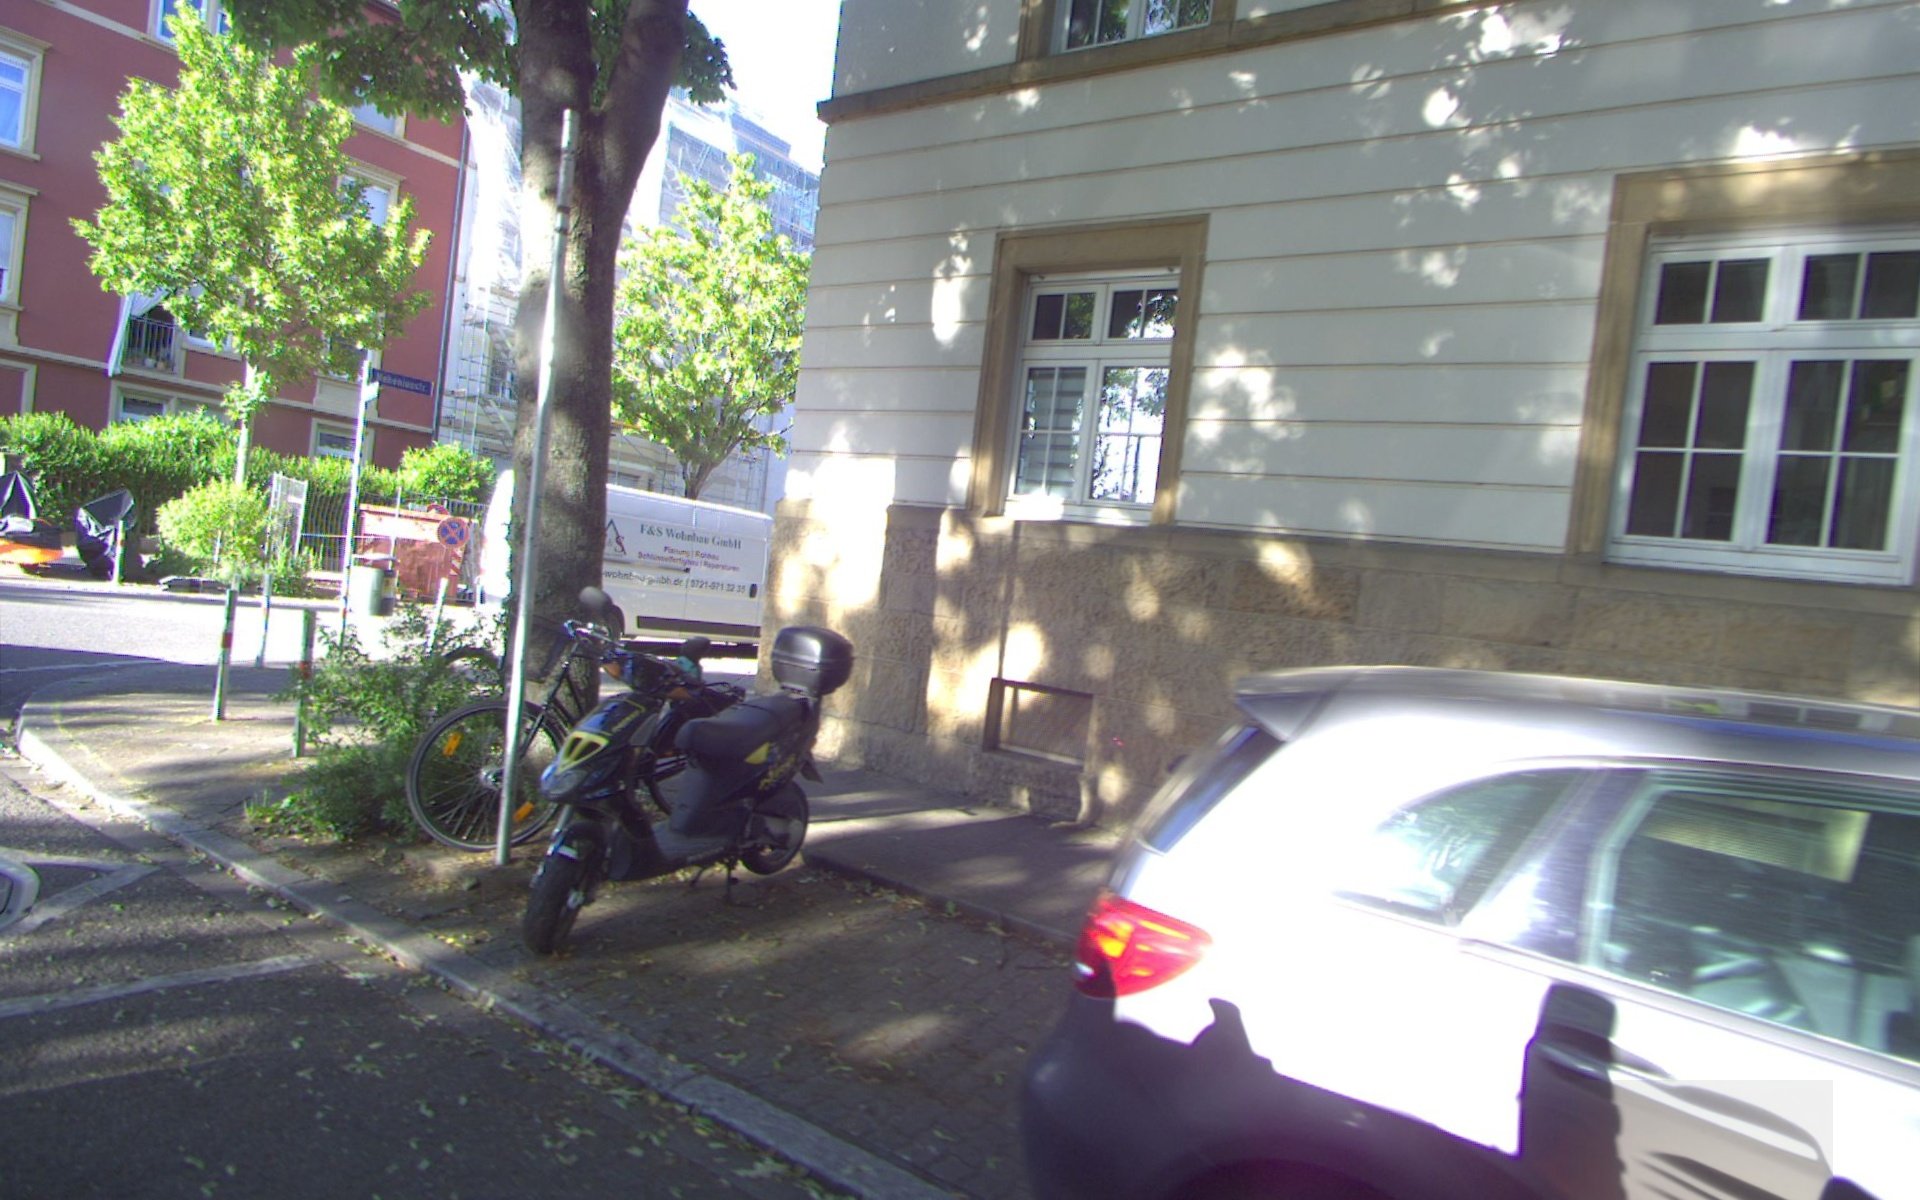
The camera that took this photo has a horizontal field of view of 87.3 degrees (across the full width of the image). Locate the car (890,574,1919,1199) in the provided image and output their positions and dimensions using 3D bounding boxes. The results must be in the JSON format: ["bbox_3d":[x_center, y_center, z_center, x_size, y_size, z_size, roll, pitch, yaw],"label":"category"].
[{"bbox_3d":[2.217,1.022,1.766,4.334,1.570,1.792,7,1,29],"label":"car"}]

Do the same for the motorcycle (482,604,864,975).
[{"bbox_3d":[-1.176,0.720,4.431,0.609,1.283,1.503,8,2,31],"label":"motorcycle"}]

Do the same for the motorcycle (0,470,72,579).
[{"bbox_3d":[-14.535,-1.209,15.508,2.162,1.422,1.017,11,4,44],"label":"motorcycle"}]

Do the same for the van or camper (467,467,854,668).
[{"bbox_3d":[-4.628,-0.383,16.428,2.114,2.477,5.579,11,3,41],"label":"van or camper"}]

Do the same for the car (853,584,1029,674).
[{"bbox_3d":[-0.330,0.641,21.095,1.538,1.495,3.536,10,2,42],"label":"car"}]

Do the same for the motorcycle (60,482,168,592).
[{"bbox_3d":[-13.494,-1.022,16.014,2.518,1.423,0.825,10,3,40],"label":"motorcycle"}]

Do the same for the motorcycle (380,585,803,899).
[{"bbox_3d":[-1.748,0.657,5.018,1.844,1.283,0.498,5,3,-44],"label":"motorcycle"}]
